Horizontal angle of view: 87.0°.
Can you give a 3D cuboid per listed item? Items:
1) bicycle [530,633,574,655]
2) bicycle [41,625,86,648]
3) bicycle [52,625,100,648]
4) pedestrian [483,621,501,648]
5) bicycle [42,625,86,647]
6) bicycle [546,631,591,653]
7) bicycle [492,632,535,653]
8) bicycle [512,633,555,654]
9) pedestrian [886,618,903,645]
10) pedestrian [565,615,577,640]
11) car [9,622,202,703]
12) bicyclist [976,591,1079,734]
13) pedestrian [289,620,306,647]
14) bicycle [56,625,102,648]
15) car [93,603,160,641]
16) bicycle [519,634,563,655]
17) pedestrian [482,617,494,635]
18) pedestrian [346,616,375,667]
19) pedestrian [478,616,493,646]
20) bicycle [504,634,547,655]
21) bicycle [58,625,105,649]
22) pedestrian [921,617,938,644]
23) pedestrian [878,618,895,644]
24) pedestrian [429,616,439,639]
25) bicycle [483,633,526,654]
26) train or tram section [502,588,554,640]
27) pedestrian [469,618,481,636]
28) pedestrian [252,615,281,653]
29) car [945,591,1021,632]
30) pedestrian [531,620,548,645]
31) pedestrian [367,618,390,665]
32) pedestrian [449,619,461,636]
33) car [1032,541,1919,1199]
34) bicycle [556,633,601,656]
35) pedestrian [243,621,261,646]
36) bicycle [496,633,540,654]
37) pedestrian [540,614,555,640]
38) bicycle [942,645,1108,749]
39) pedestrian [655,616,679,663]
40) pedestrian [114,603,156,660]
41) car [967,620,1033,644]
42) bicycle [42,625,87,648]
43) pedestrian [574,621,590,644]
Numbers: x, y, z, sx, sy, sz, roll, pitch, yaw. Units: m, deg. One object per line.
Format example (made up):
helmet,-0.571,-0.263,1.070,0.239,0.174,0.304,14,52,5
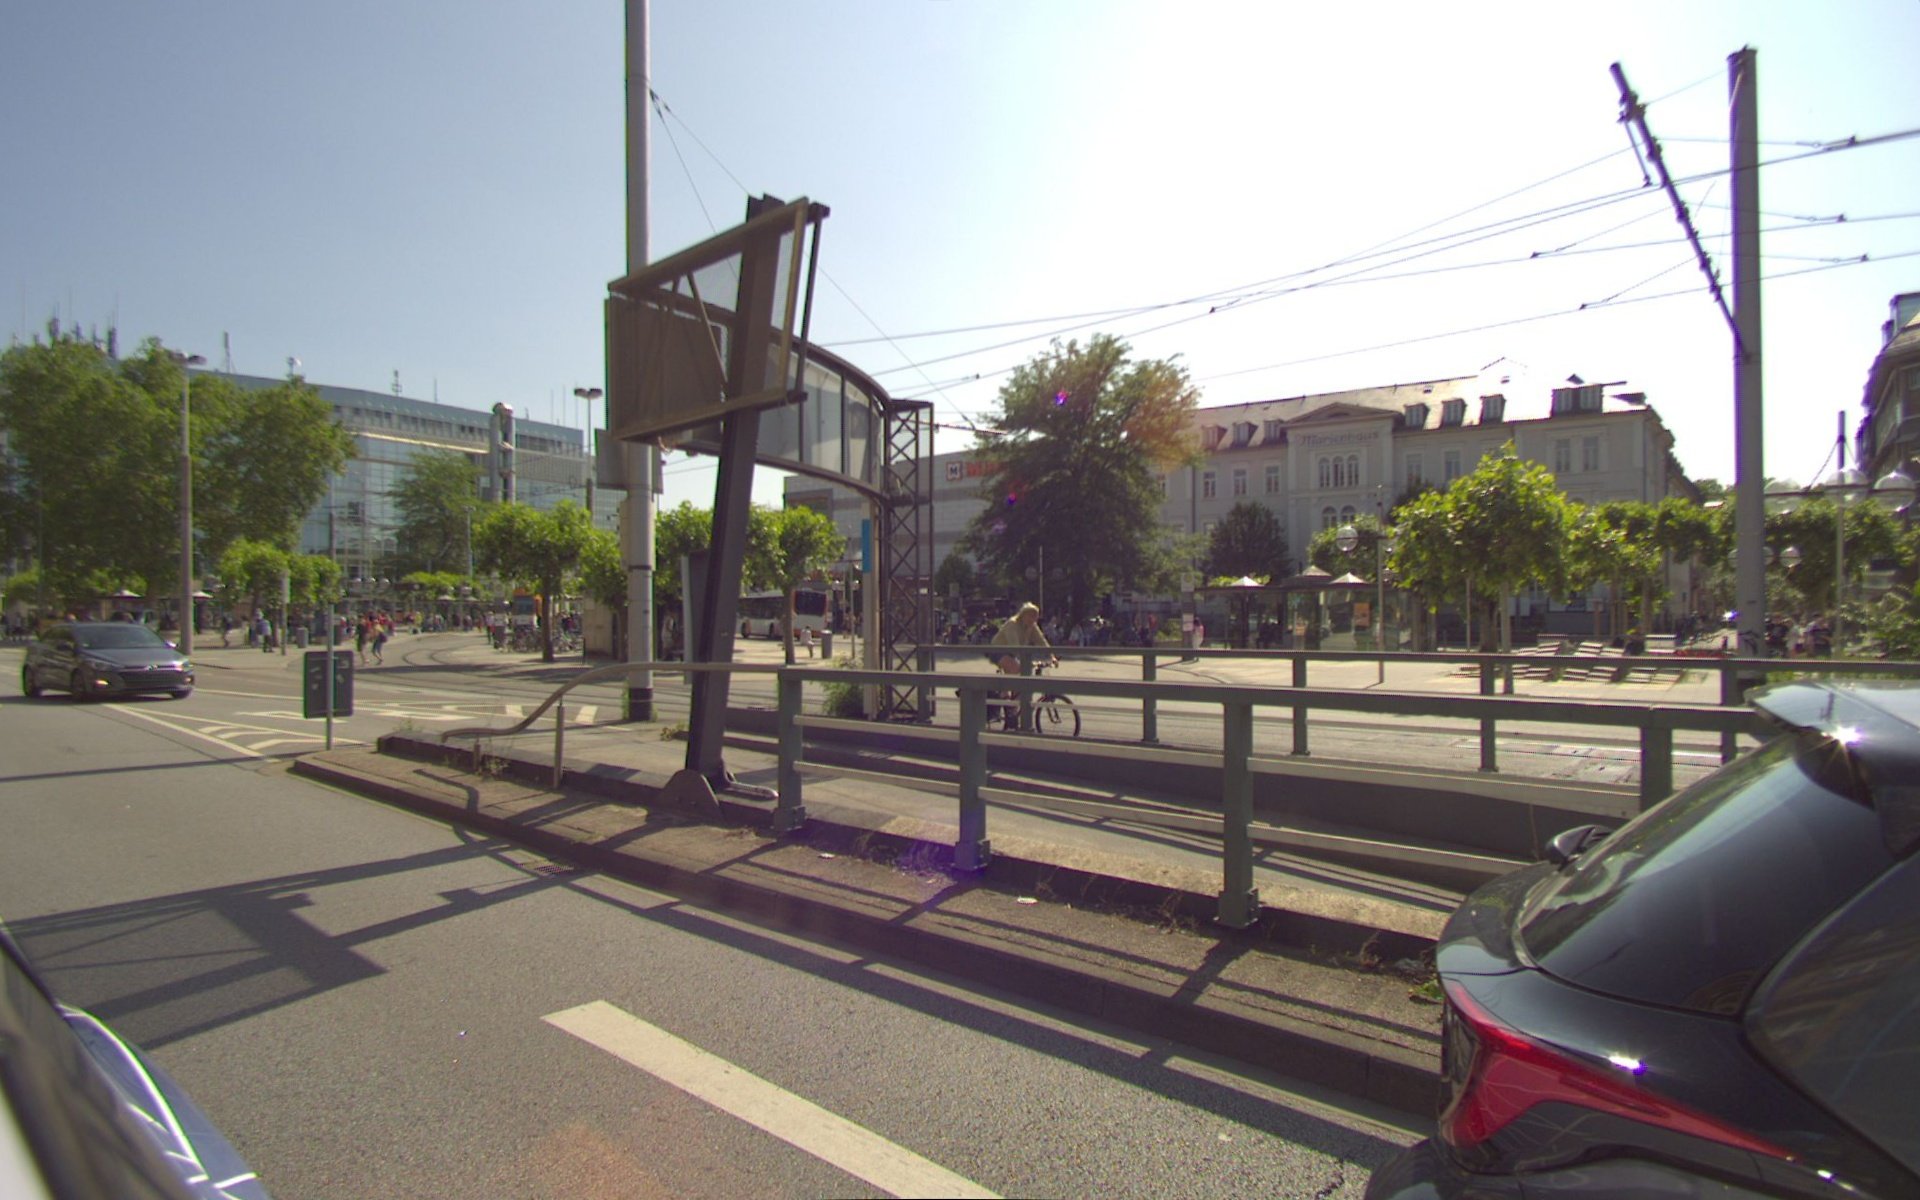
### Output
bicycle,-17.887,1.934,44.444,0.579,0.876,1.853,-1,0,28
bicycle,-47.879,1.939,54.073,0.482,1.156,1.735,-1,-2,38
bicycle,-45.937,1.894,52.603,0.482,1.156,1.842,-1,-2,38
pedestrian,-26.151,1.936,56.549,0.549,1.477,0.621,0,-4,18
bicycle,-48.288,1.921,54.553,0.482,1.156,1.735,-1,-2,38
bicycle,-16.738,1.779,43.292,0.579,0.876,1.853,-1,0,28
bicycle,-20.329,1.927,46.136,0.580,0.878,1.853,-1,0,28
bicycle,-19.052,1.922,45.265,0.544,0.863,1.853,-1,0,28
pedestrian,-3.700,1.773,57.338,0.679,1.477,0.617,-2,-5,36
pedestrian,-27.413,1.944,71.328,0.462,1.731,0.555,0,-4,18
car,-16.494,1.134,19.506,3.986,1.415,1.682,-1,-2,32
bicyclist,0.815,0.760,12.162,0.902,1.634,0.809,-3,-6,41
pedestrian,-38.085,1.930,58.191,0.716,1.477,0.682,3,-5,-28
bicycle,-45.305,1.880,52.050,0.482,1.156,1.735,-1,-2,38
car,-47.532,1.241,57.850,1.965,2.029,5.083,-1,0,-28
bicycle,-18.596,1.962,44.958,0.544,0.863,1.853,-1,0,28
pedestrian,-40.843,2.252,87.541,0.555,1.484,0.748,-1,0,40
pedestrian,-20.836,1.441,35.165,0.581,1.747,0.524,0,-4,11
pedestrian,-26.638,1.724,56.863,0.518,1.678,0.469,0,-4,19
bicycle,-19.553,1.996,45.540,0.544,0.863,1.853,-1,0,28
bicycle,-44.899,1.881,51.728,0.482,1.156,1.735,-1,-2,38
pedestrian,-1.700,1.699,55.724,0.616,1.477,0.681,5,-6,-45
pedestrian,-4.221,1.793,58.144,0.679,1.477,0.617,-2,-5,38
pedestrian,-37.642,1.960,72.415,0.448,1.560,0.474,0,1,14
bicycle,-20.909,1.995,46.462,0.544,0.863,1.853,-1,0,28
train or tram section,-34.160,1.087,80.315,2.577,3.856,9.547,-1,0,-16
pedestrian,-41.794,2.311,87.288,0.555,1.484,0.748,-1,0,40
pedestrian,-30.918,1.490,45.128,0.678,1.671,0.885,-1,-2,31
car,1.675,0.841,74.496,5.386,2.909,1.936,-1,0,35
pedestrian,-23.747,1.827,57.164,0.617,1.429,0.680,0,-2,3
pedestrian,-20.533,1.481,35.734,0.518,1.622,0.627,4,-5,-40
pedestrian,-43.386,2.372,86.973,0.555,1.484,0.748,-1,0,40
car,2.140,0.714,0.550,4.000,1.486,1.757,-1,-3,43
bicycle,-16.215,1.895,43.032,0.579,0.876,1.853,-1,0,28
pedestrian,-35.232,1.682,50.391,0.568,1.243,0.555,0,-2,-15
bicycle,-19.985,1.973,45.791,0.544,0.863,1.853,-1,0,28
pedestrian,-28.334,1.854,69.493,0.675,1.809,0.621,0,-4,19
bicycle,0.761,1.127,12.171,1.873,1.129,0.809,-1,-5,41
pedestrian,-10.341,1.392,35.729,0.597,1.622,0.574,0,-4,12
pedestrian,-29.403,1.131,36.065,0.670,2.023,0.895,1,-4,-3
car,2.615,2.106,66.629,3.991,1.519,1.740,-1,0,35
bicycle,-47.483,1.930,53.667,0.482,1.156,1.735,-1,-2,38
pedestrian,-24.779,2.144,66.307,0.675,1.513,0.621,0,-4,19
